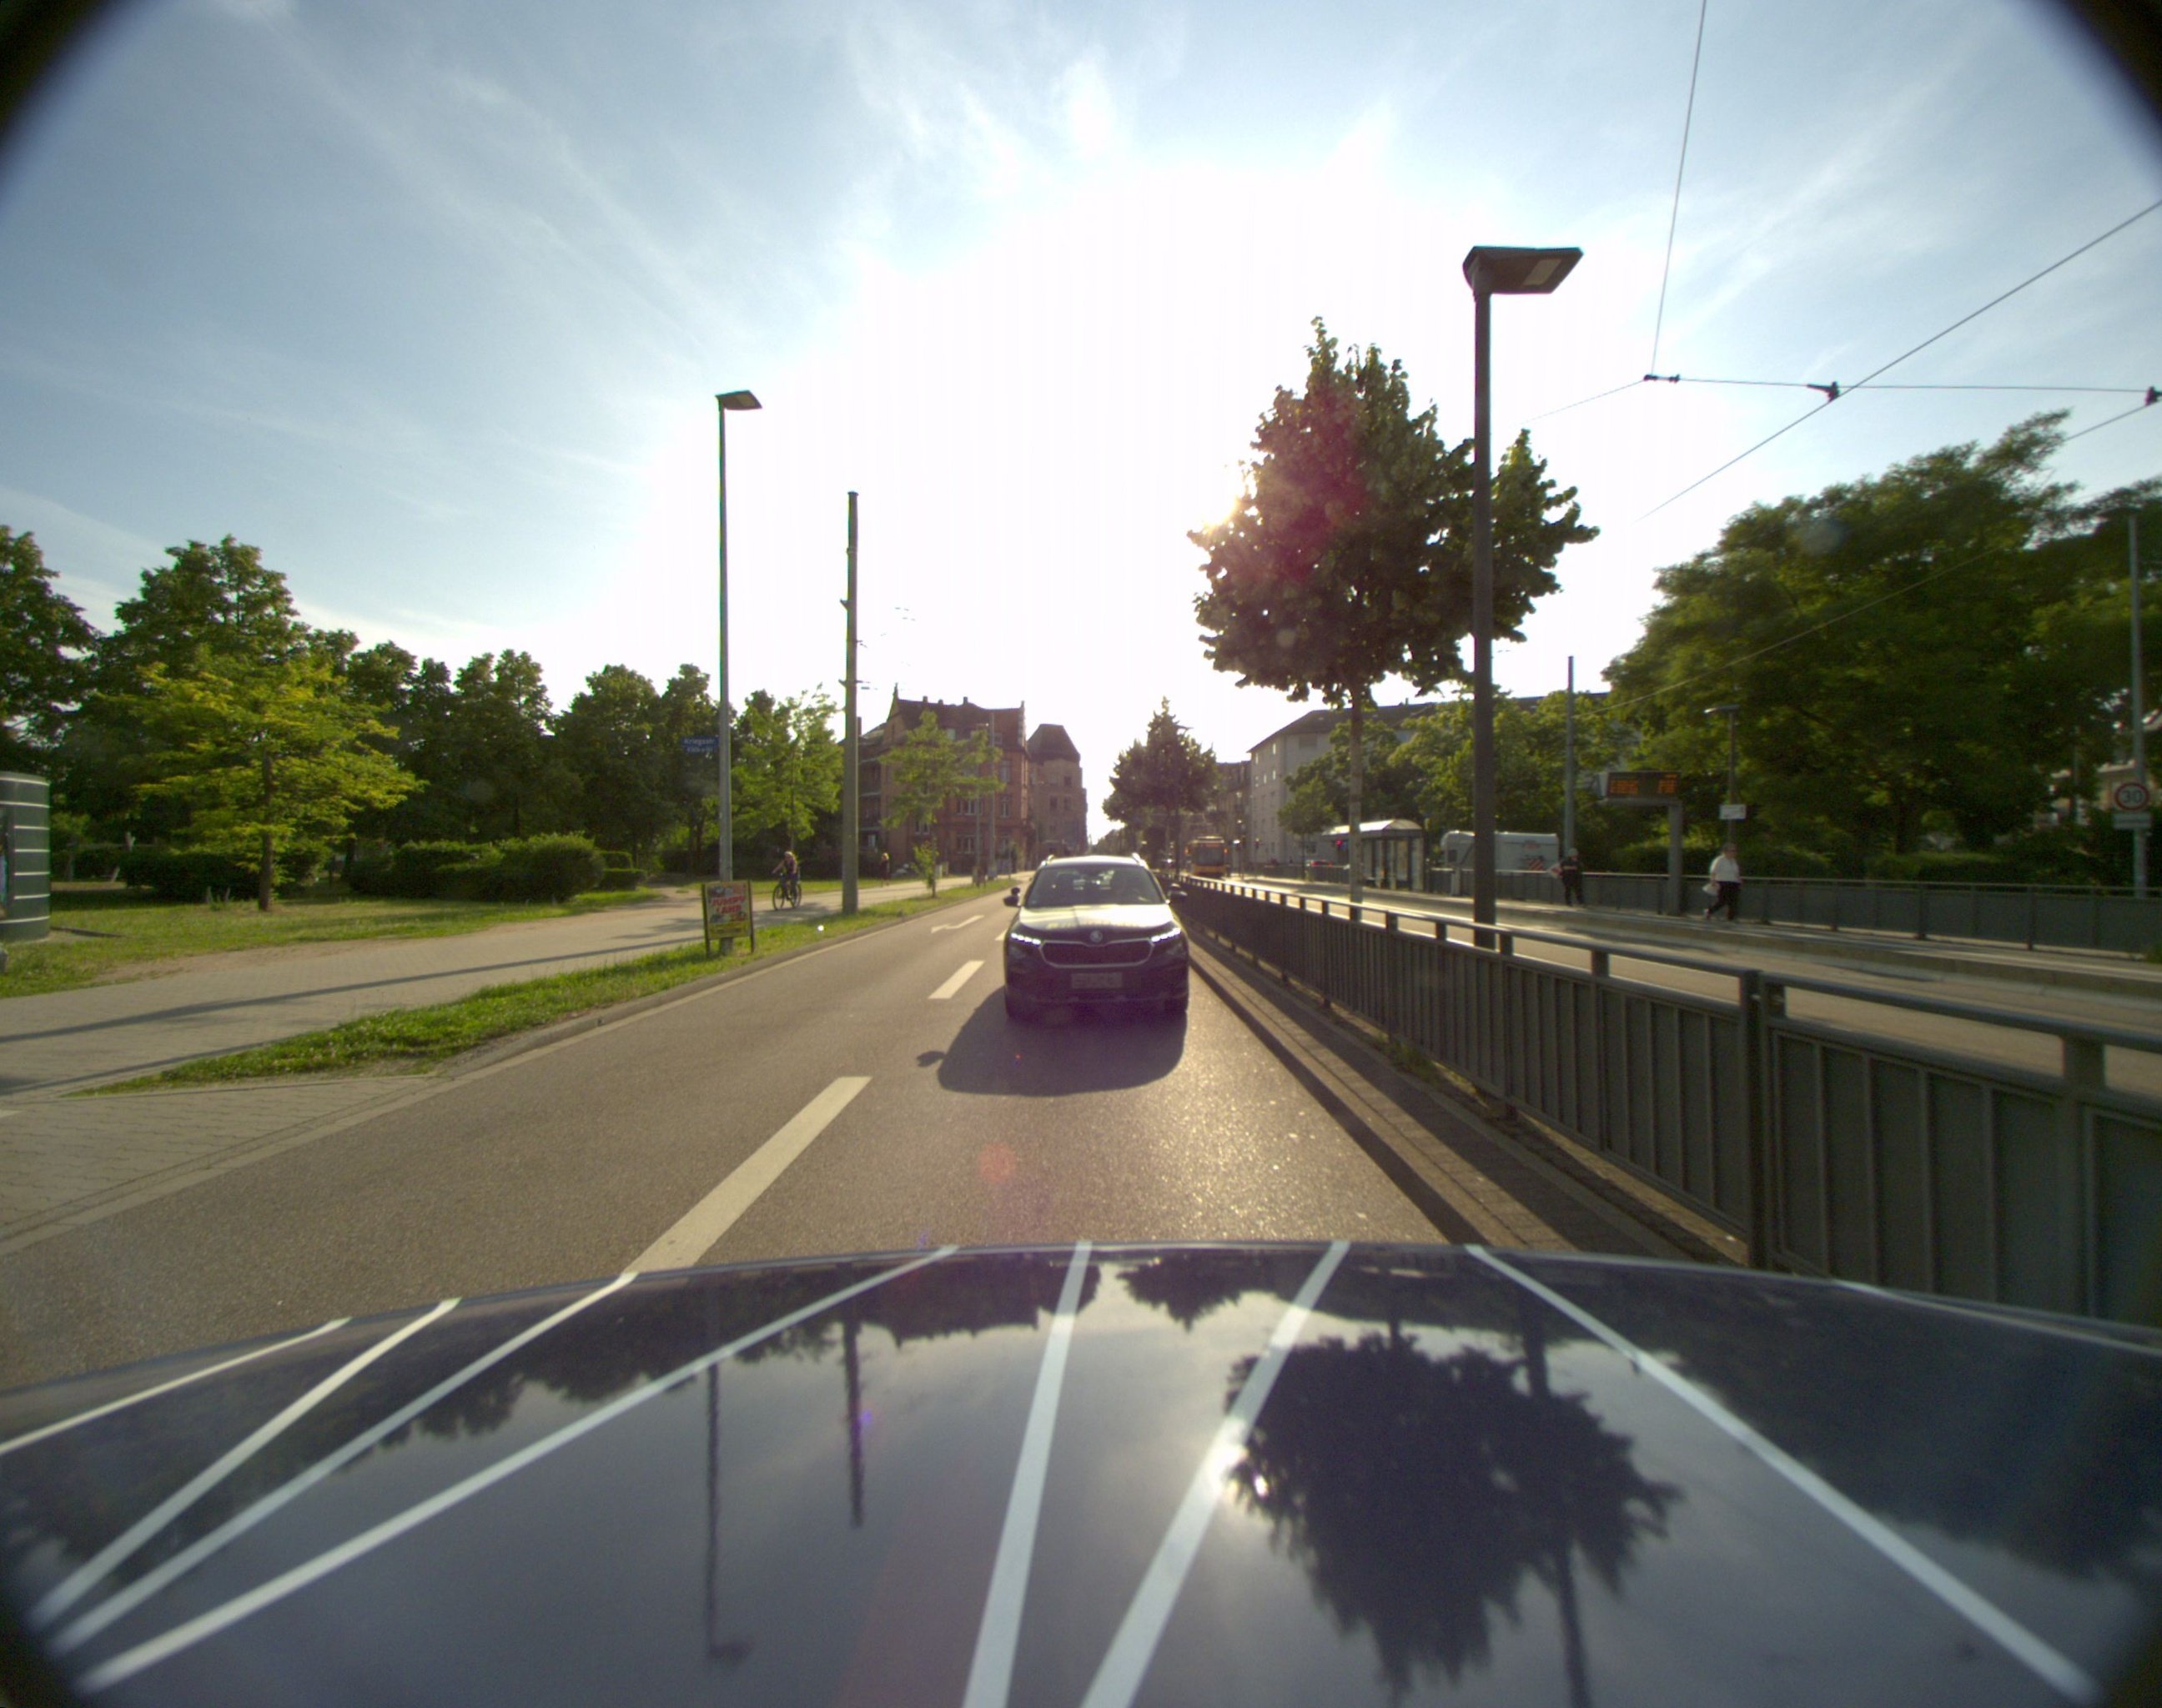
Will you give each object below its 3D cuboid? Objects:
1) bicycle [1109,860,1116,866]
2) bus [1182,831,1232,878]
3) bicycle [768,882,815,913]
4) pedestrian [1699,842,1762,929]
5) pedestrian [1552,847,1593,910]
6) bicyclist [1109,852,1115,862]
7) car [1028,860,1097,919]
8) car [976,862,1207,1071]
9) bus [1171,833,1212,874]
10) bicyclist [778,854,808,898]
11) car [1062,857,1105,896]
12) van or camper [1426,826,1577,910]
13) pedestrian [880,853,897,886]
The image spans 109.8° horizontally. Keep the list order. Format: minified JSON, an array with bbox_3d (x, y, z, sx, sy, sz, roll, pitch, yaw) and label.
[{"bbox_3d":[4.316,1.217,104.615,0.566,0.789,2.043,0,0,12],"label":"bicycle"},{"bbox_3d":[9.936,-0.003,60.830,2.437,3.415,9.260,-2,1,1],"label":"bus"},{"bbox_3d":[-8.419,1.245,22.180,0.496,0.753,2.168,1,0,1],"label":"bicycle"},{"bbox_3d":[13.044,0.623,15.279,0.621,1.675,0.618,3,1,1],"label":"pedestrian"},{"bbox_3d":[13.455,0.656,20.796,0.621,1.675,0.618,3,1,1],"label":"pedestrian"},{"bbox_3d":[4.308,0.389,104.651,0.688,1.445,1.112,0,0,12],"label":"bicyclist"},{"bbox_3d":[-0.454,0.937,21.808,1.756,1.451,4.235,-2,0,1],"label":"car"},{"bbox_3d":[0.110,0.897,8.011,1.756,1.534,4.235,-2,0,1],"label":"car"},{"bbox_3d":[10.059,-0.115,70.097,2.437,3.415,9.260,-2,1,1],"label":"bus"},{"bbox_3d":[-8.443,0.623,22.271,0.535,1.255,0.869,0,1,1],"label":"bicyclist"},{"bbox_3d":[0.133,0.940,33.218,1.756,1.534,4.235,-2,0,1],"label":"car"},{"bbox_3d":[16.621,0.468,30.622,2.527,2.951,6.410,-2,1,1],"label":"van or camper"},{"bbox_3d":[-9.775,0.781,38.626,0.621,1.675,0.618,-2,1,1],"label":"pedestrian"}]
